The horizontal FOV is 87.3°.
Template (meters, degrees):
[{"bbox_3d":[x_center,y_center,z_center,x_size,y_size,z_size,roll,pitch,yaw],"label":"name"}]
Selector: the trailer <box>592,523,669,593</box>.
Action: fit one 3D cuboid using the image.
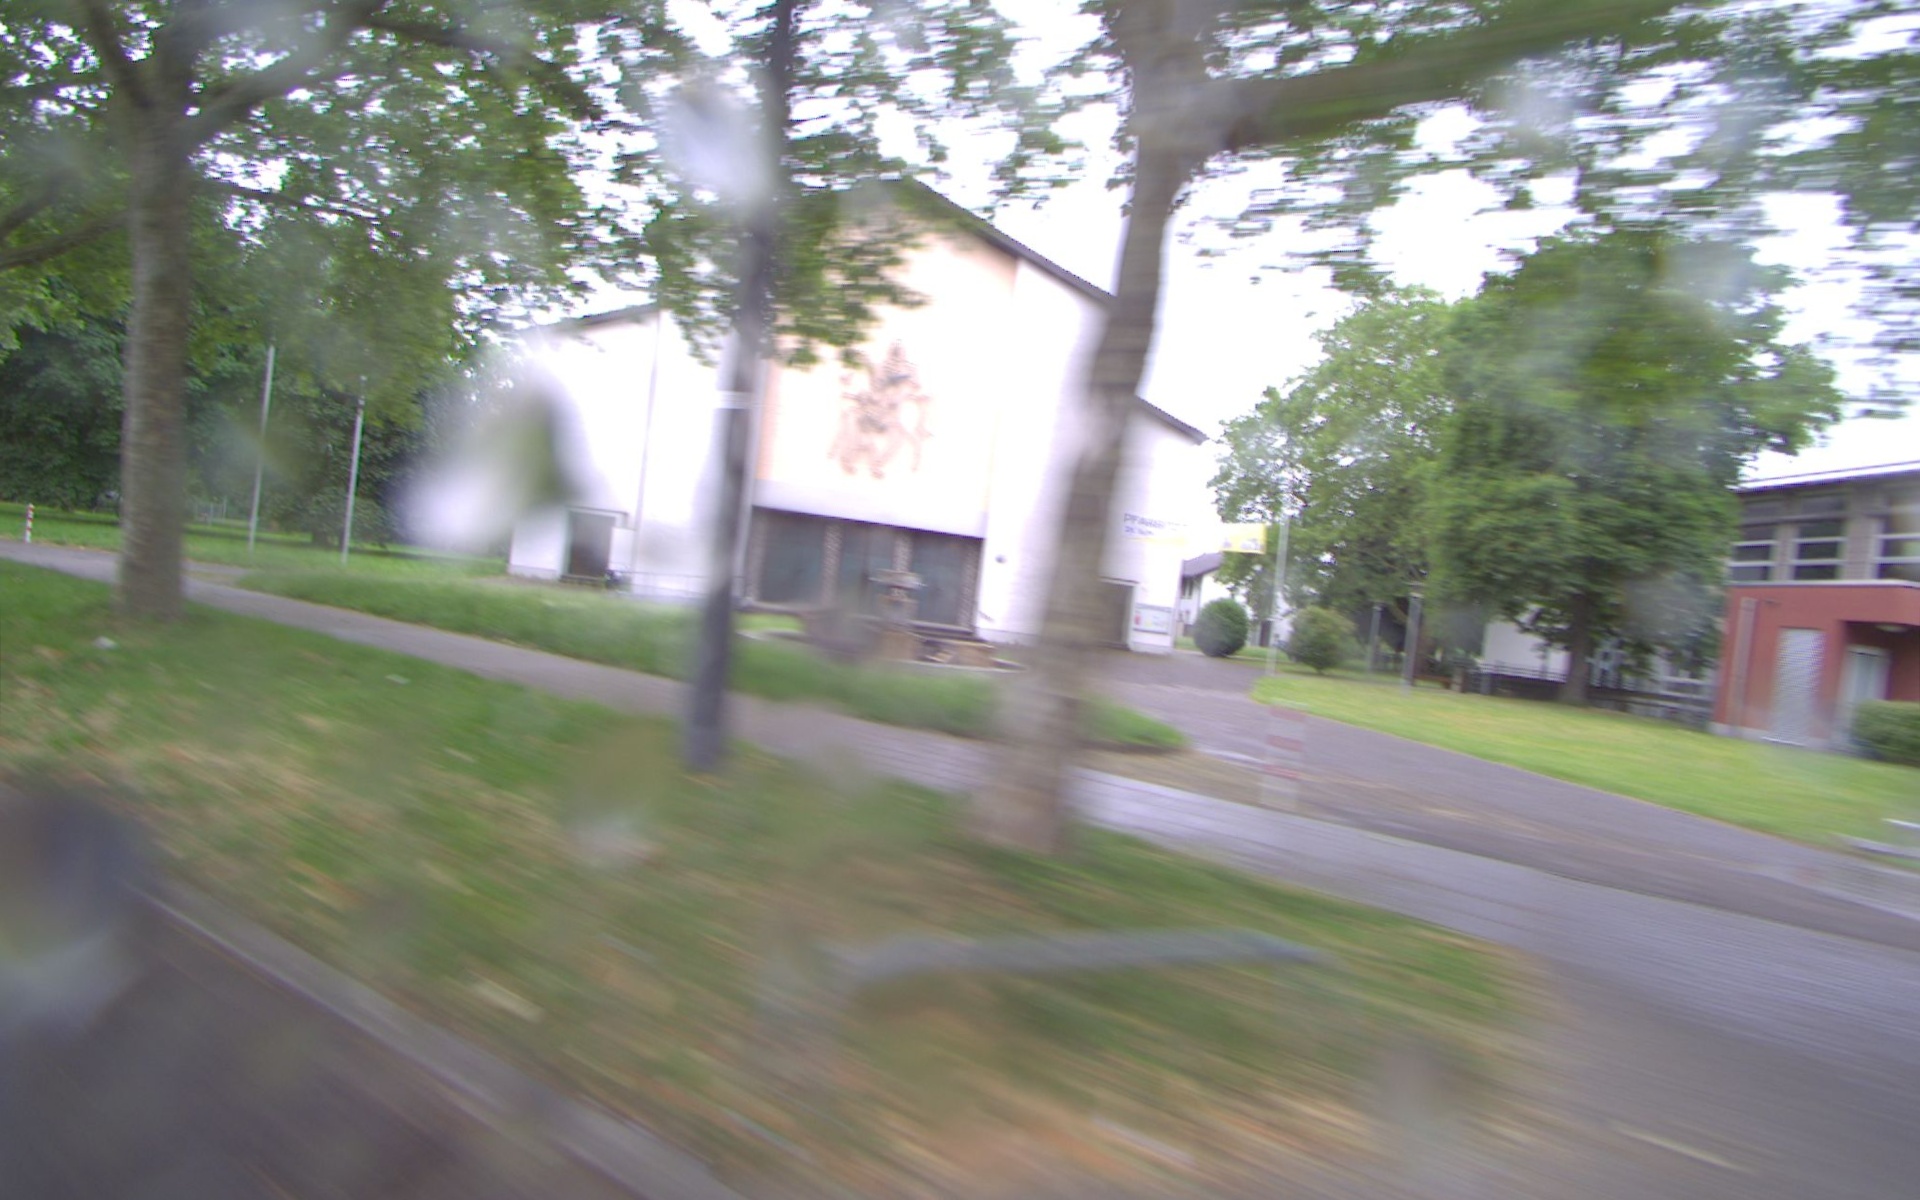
[{"bbox_3d":[-12.563,-1.552,38.587,1.859,2.338,4.014,6,1,-8],"label":"trailer"}]
